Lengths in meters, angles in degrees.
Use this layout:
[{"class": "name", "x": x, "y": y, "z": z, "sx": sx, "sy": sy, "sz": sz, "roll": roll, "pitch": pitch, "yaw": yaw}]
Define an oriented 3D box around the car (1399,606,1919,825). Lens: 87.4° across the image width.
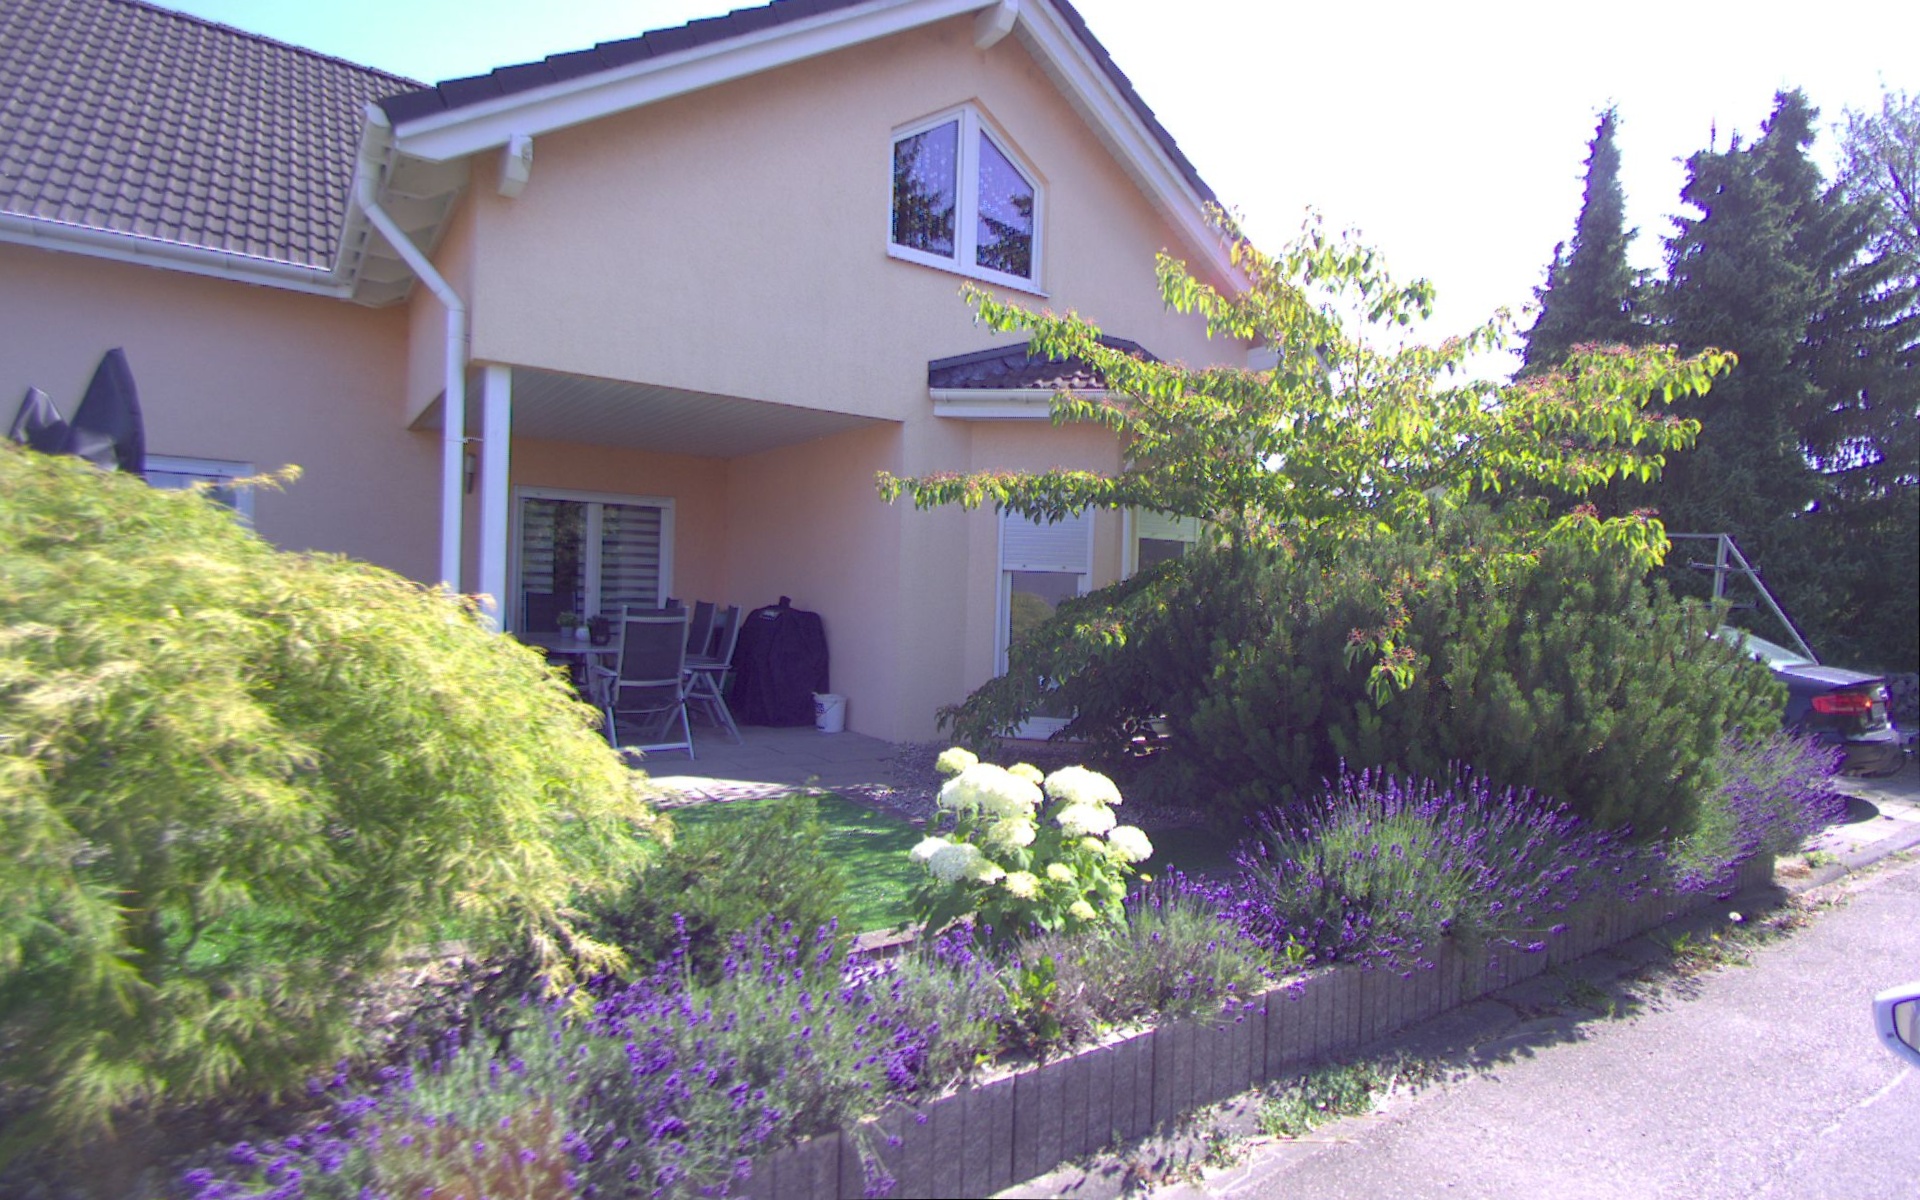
[{"class": "car", "x": 6.282, "y": 0.851, "z": 9.265, "sx": 1.739, "sy": 1.465, "sz": 3.709, "roll": 1, "pitch": 1, "yaw": -36}]
